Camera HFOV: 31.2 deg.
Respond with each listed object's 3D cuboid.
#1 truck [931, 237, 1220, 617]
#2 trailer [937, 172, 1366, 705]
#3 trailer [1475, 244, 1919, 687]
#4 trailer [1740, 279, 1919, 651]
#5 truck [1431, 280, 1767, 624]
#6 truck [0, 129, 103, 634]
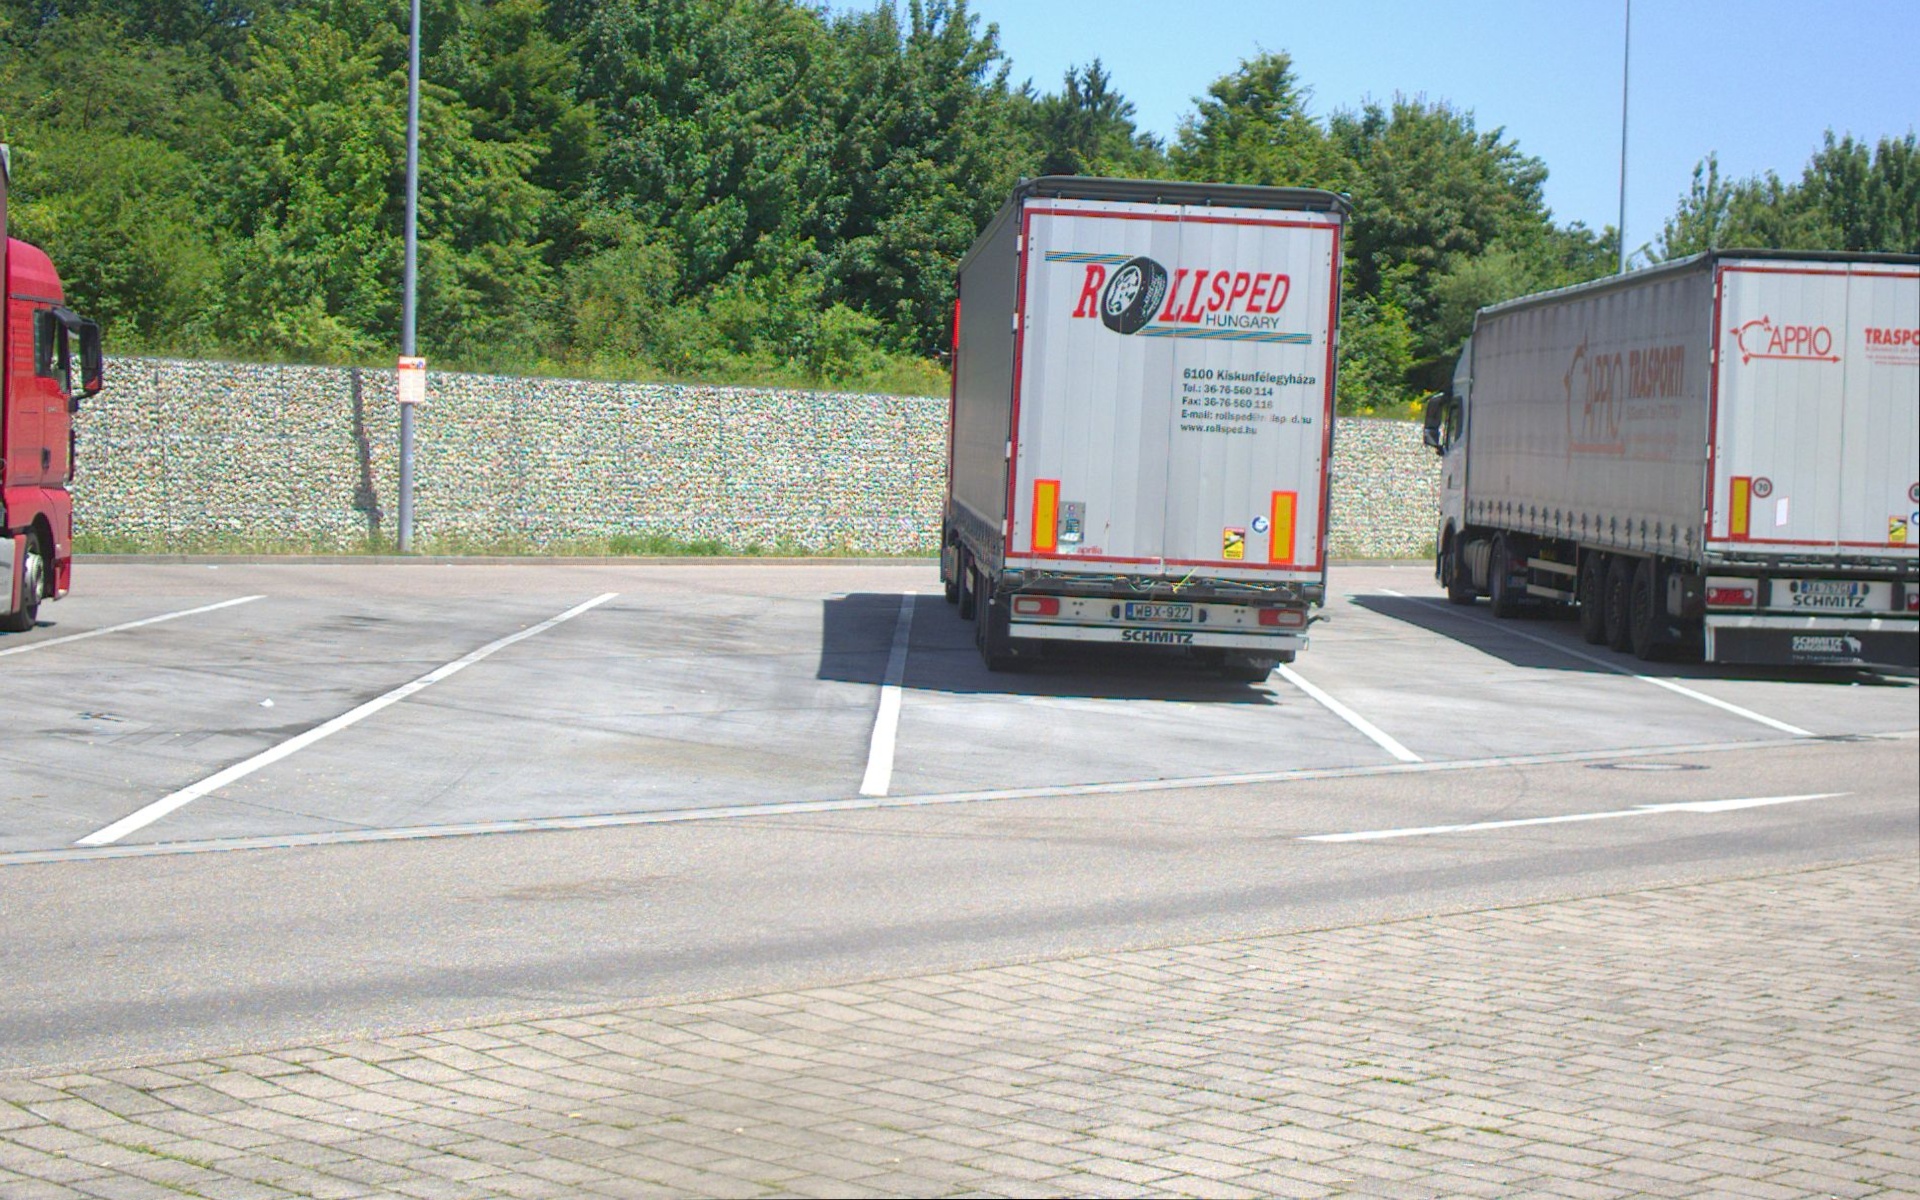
[{"bbox_3d":[1.216,-2.060,40.714,2.866,4.023,7.028,2,3,-2],"label":"truck"},{"bbox_3d":[1.429,-1.640,33.635,2.866,4.023,14.243,2,3,-2],"label":"trailer"},{"bbox_3d":[8.173,-1.573,37.973,2.866,4.023,12.439,2,3,0],"label":"trailer"},{"bbox_3d":[11.828,-1.533,39.037,2.866,4.023,12.439,2,3,0],"label":"trailer"},{"bbox_3d":[8.113,-1.956,44.600,2.866,4.023,6.957,2,3,0],"label":"truck"},{"bbox_3d":[-9.158,-1.815,27.995,2.696,4.099,6.240,2,3,0],"label":"truck"}]
